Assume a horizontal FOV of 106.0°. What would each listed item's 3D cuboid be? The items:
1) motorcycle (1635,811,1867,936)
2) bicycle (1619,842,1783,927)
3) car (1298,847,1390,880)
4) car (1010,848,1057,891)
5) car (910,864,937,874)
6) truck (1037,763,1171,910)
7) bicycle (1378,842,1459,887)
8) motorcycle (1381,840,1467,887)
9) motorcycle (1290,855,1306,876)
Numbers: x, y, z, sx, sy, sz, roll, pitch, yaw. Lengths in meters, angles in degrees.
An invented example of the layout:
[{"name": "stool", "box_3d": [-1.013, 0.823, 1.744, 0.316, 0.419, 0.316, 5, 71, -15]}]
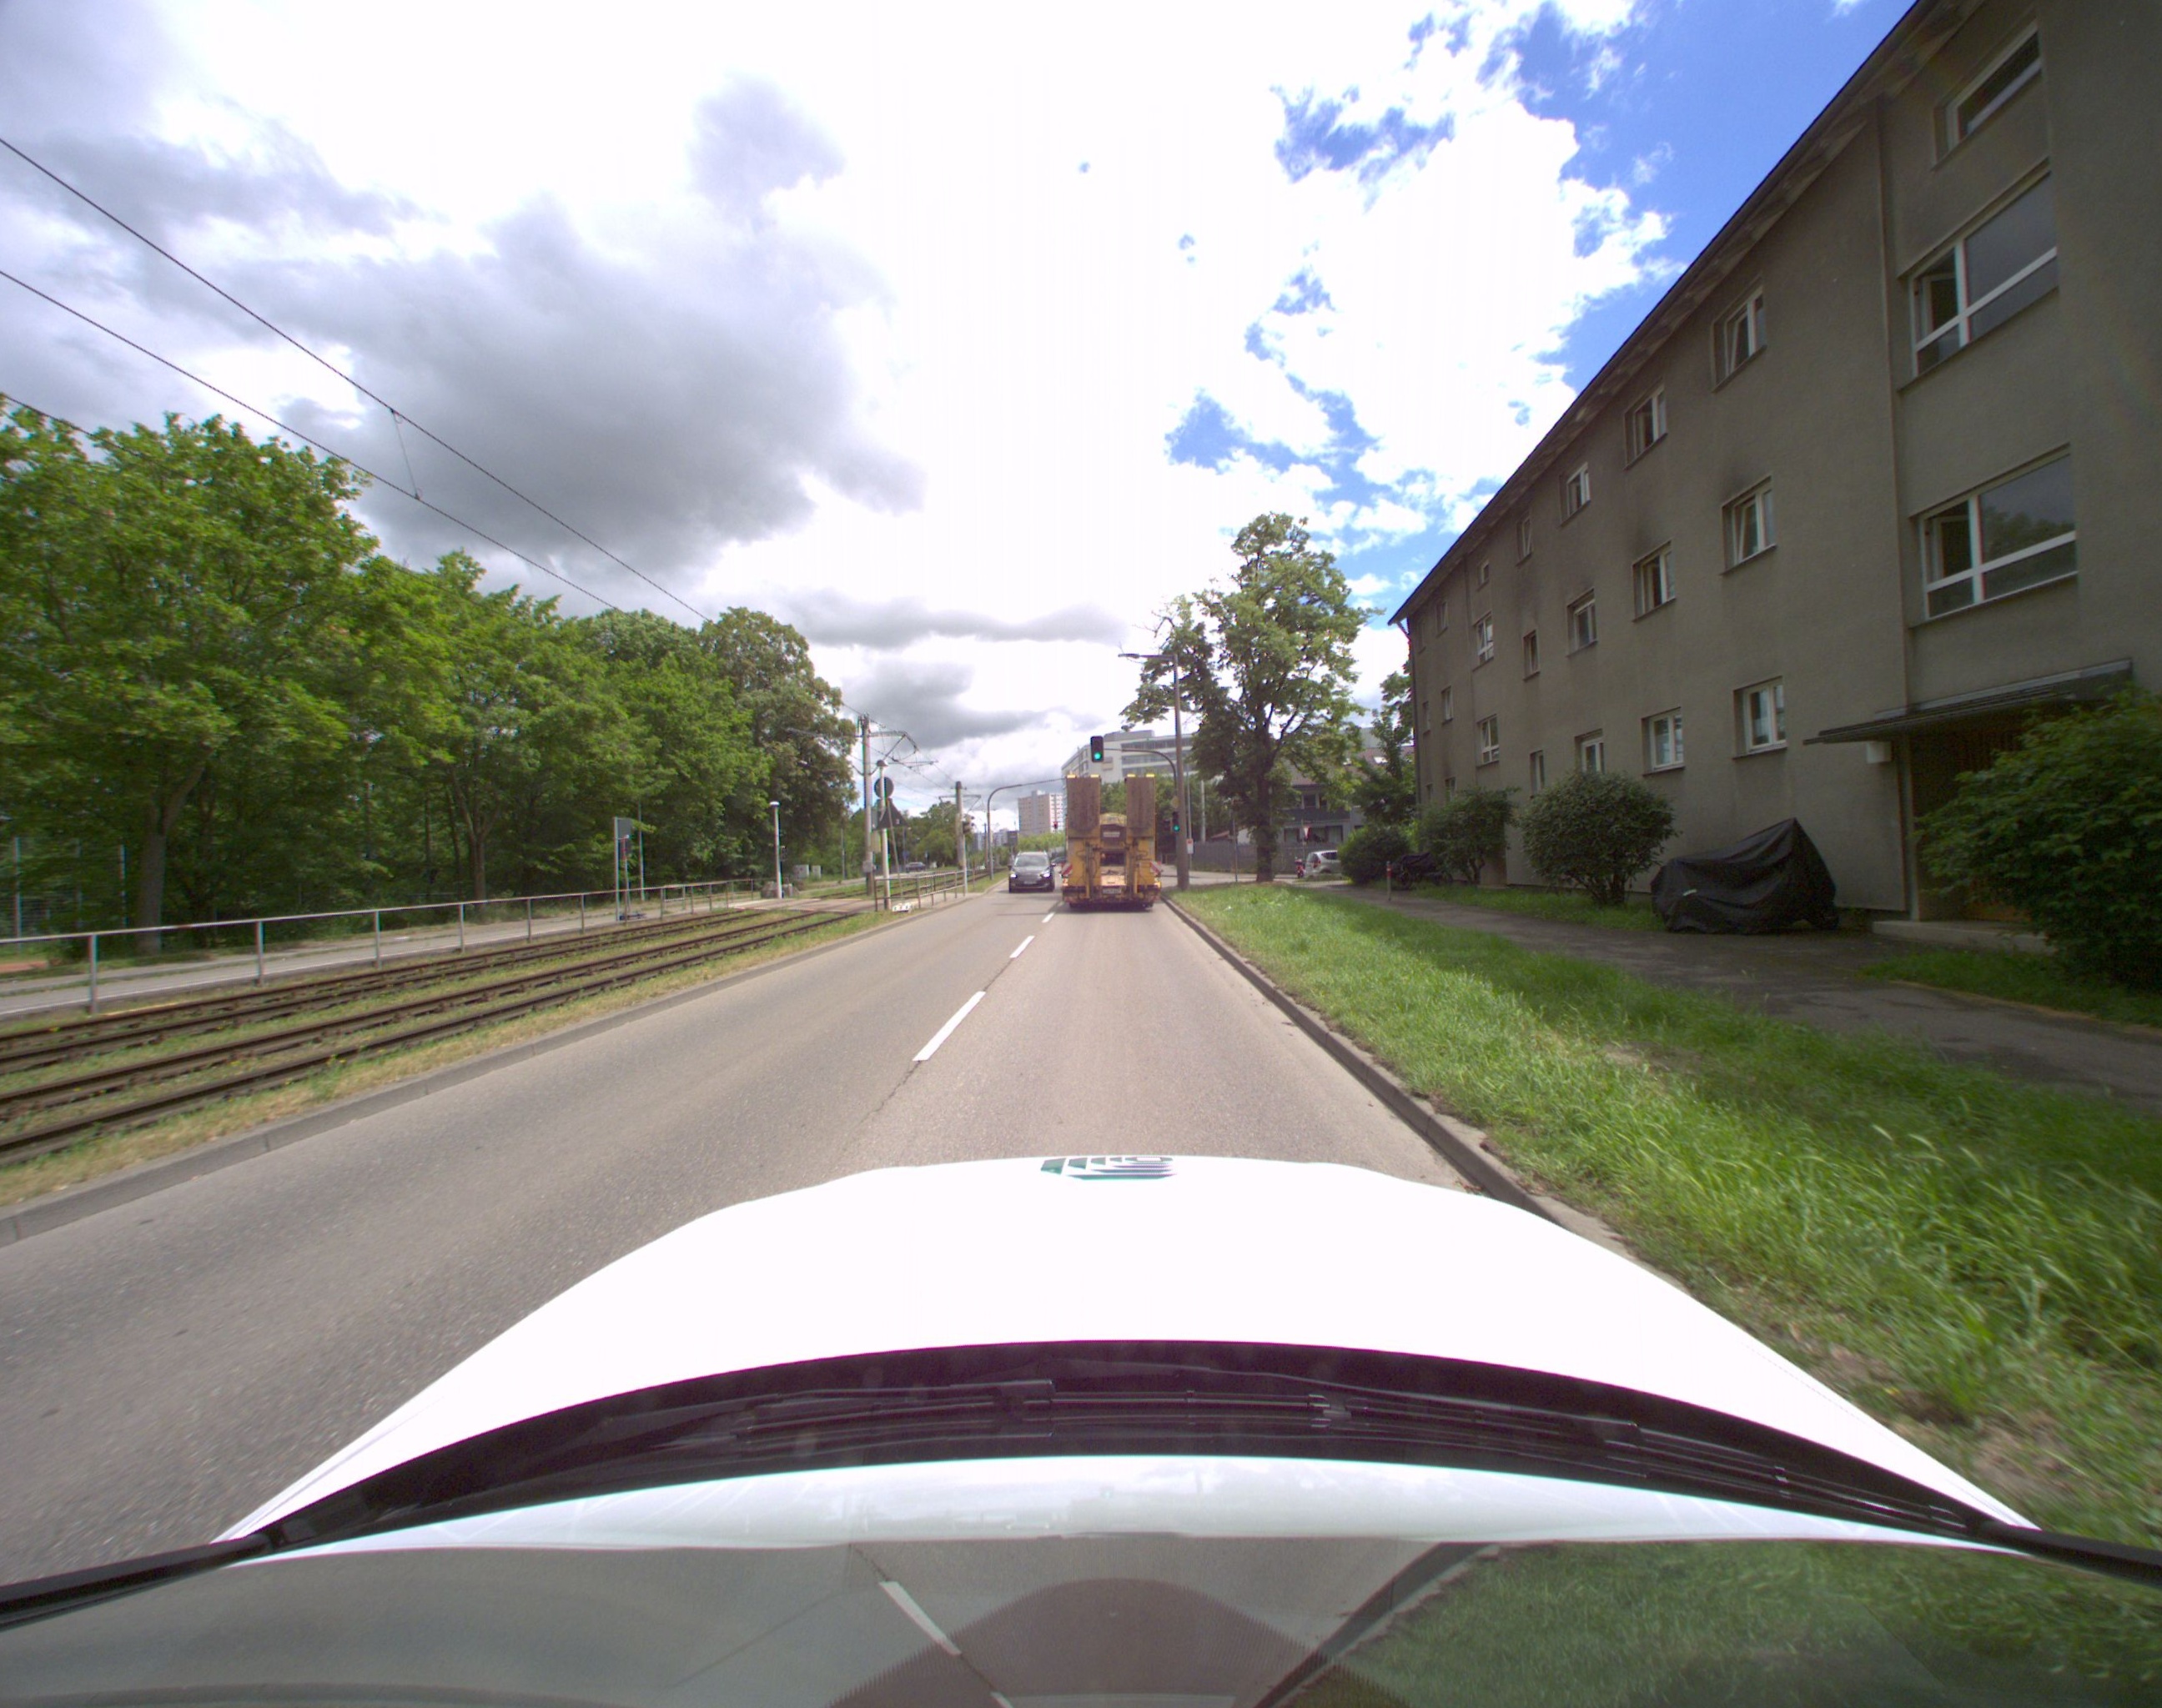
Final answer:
[{"name": "motorcycle", "box_3d": [8.369, 0.240, 10.291, 1.984, 1.429, 1.020, -2, 0, 12]}, {"name": "bicycle", "box_3d": [8.492, 0.416, 11.193, 1.788, 1.085, 0.456, -2, 0, 6]}, {"name": "car", "box_3d": [13.325, 0.461, 41.393, 3.982, 1.554, 1.935, -1, 0, -6]}, {"name": "car", "box_3d": [-1.928, 0.604, 34.082, 1.702, 1.676, 4.228, -1, 0, 0]}, {"name": "car", "box_3d": [-24.334, 2.340, 125.788, 3.984, 1.552, 1.994, -1, -1, -8]}, {"name": "truck", "box_3d": [0.629, -0.396, 26.776, 3.305, 3.651, 12.561, -1, -1, 0]}, {"name": "bicycle", "box_3d": [10.258, 0.325, 24.816, 2.153, 1.282, 0.682, -2, -1, 10]}, {"name": "motorcycle", "box_3d": [10.128, 0.290, 24.112, 2.191, 1.282, 0.682, -2, -1, 10]}, {"name": "motorcycle", "box_3d": [12.608, 0.665, 47.182, 0.653, 1.149, 2.437, -1, -1, 20]}]
